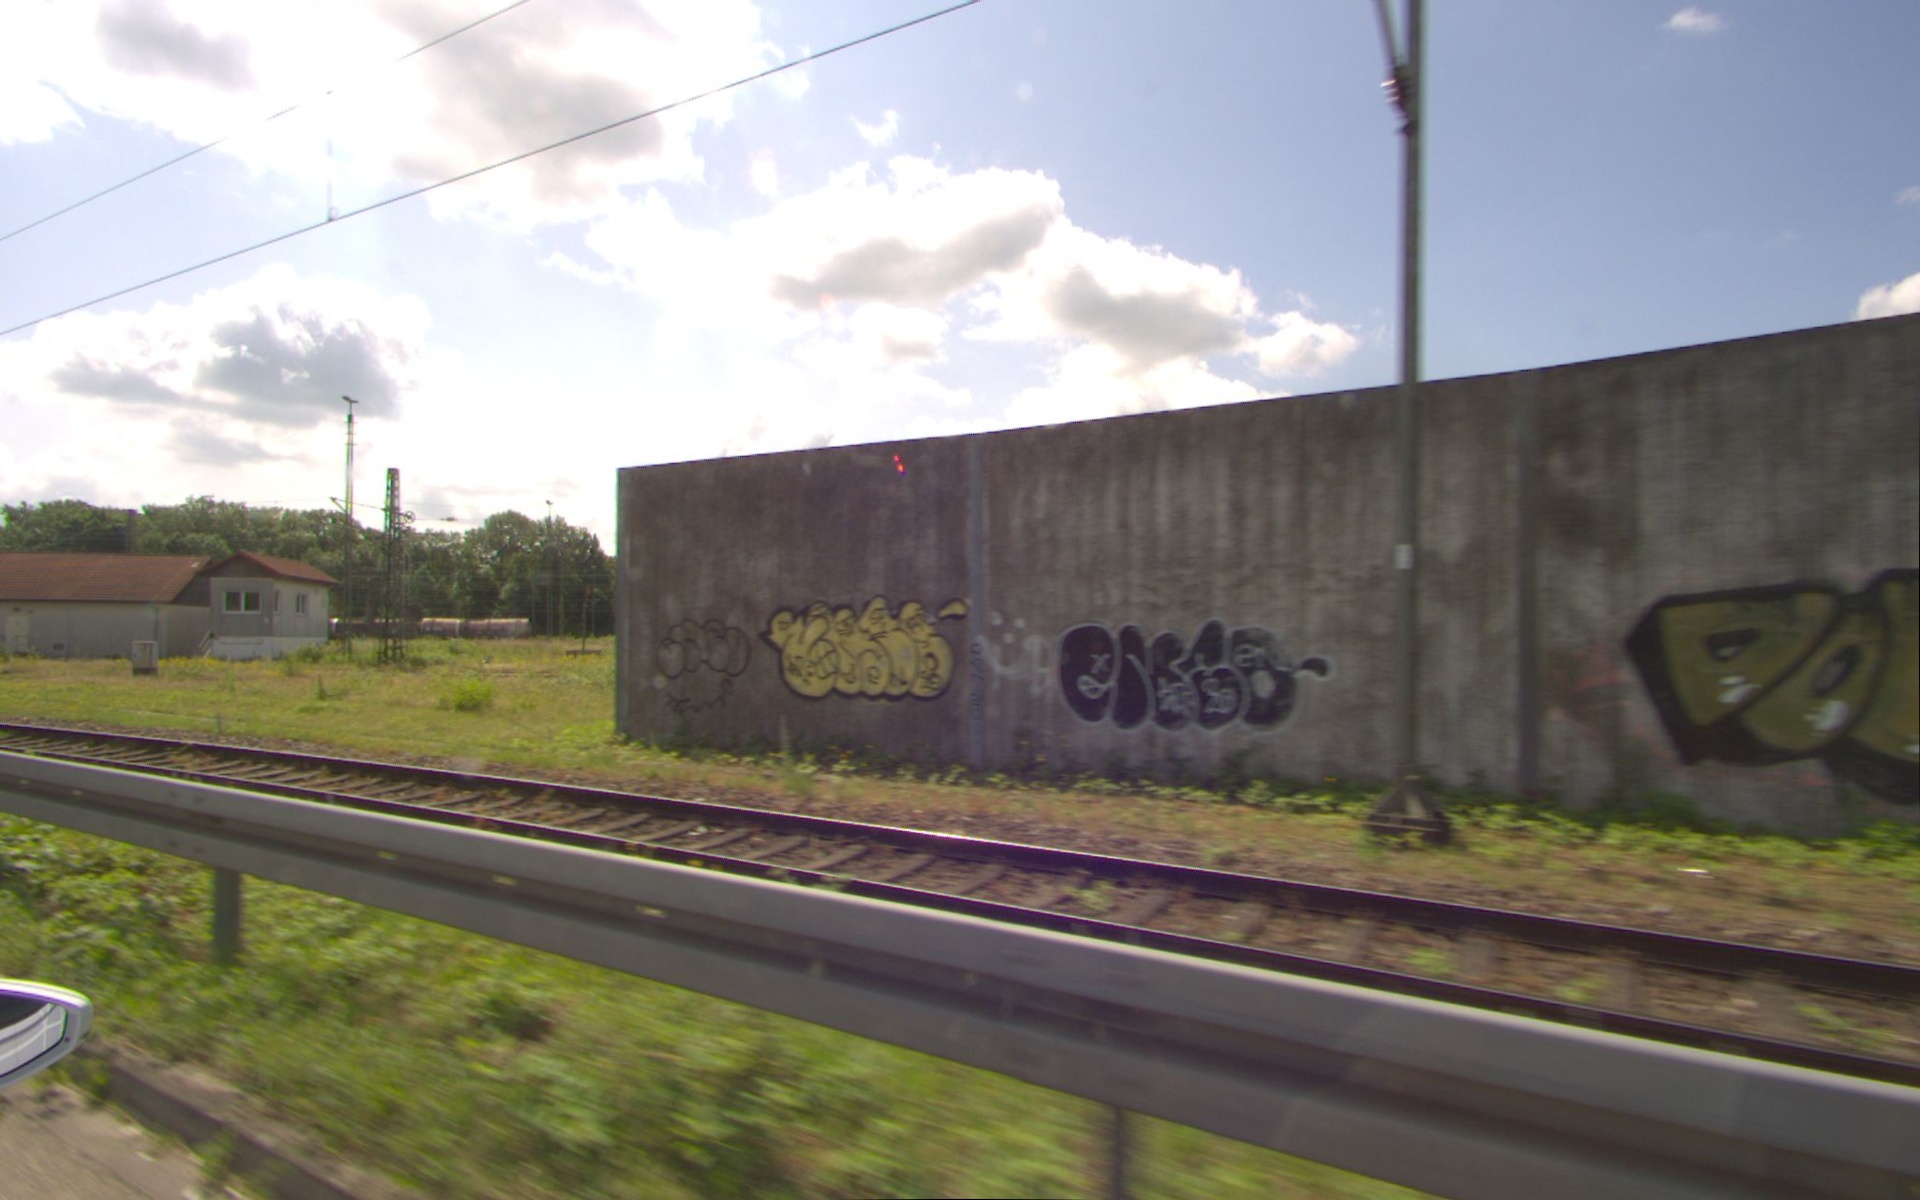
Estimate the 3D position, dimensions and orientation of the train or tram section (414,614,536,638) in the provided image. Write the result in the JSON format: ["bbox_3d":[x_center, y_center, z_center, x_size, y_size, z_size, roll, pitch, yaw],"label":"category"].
[{"bbox_3d":[-70.094,3.805,145.175,15.477,3.347,3.031,0,-1,-16],"label":"train or tram section"}]

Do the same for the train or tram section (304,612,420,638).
[{"bbox_3d":[-84.160,3.545,141.203,13.690,3.347,3.031,1,-2,-16],"label":"train or tram section"}]
